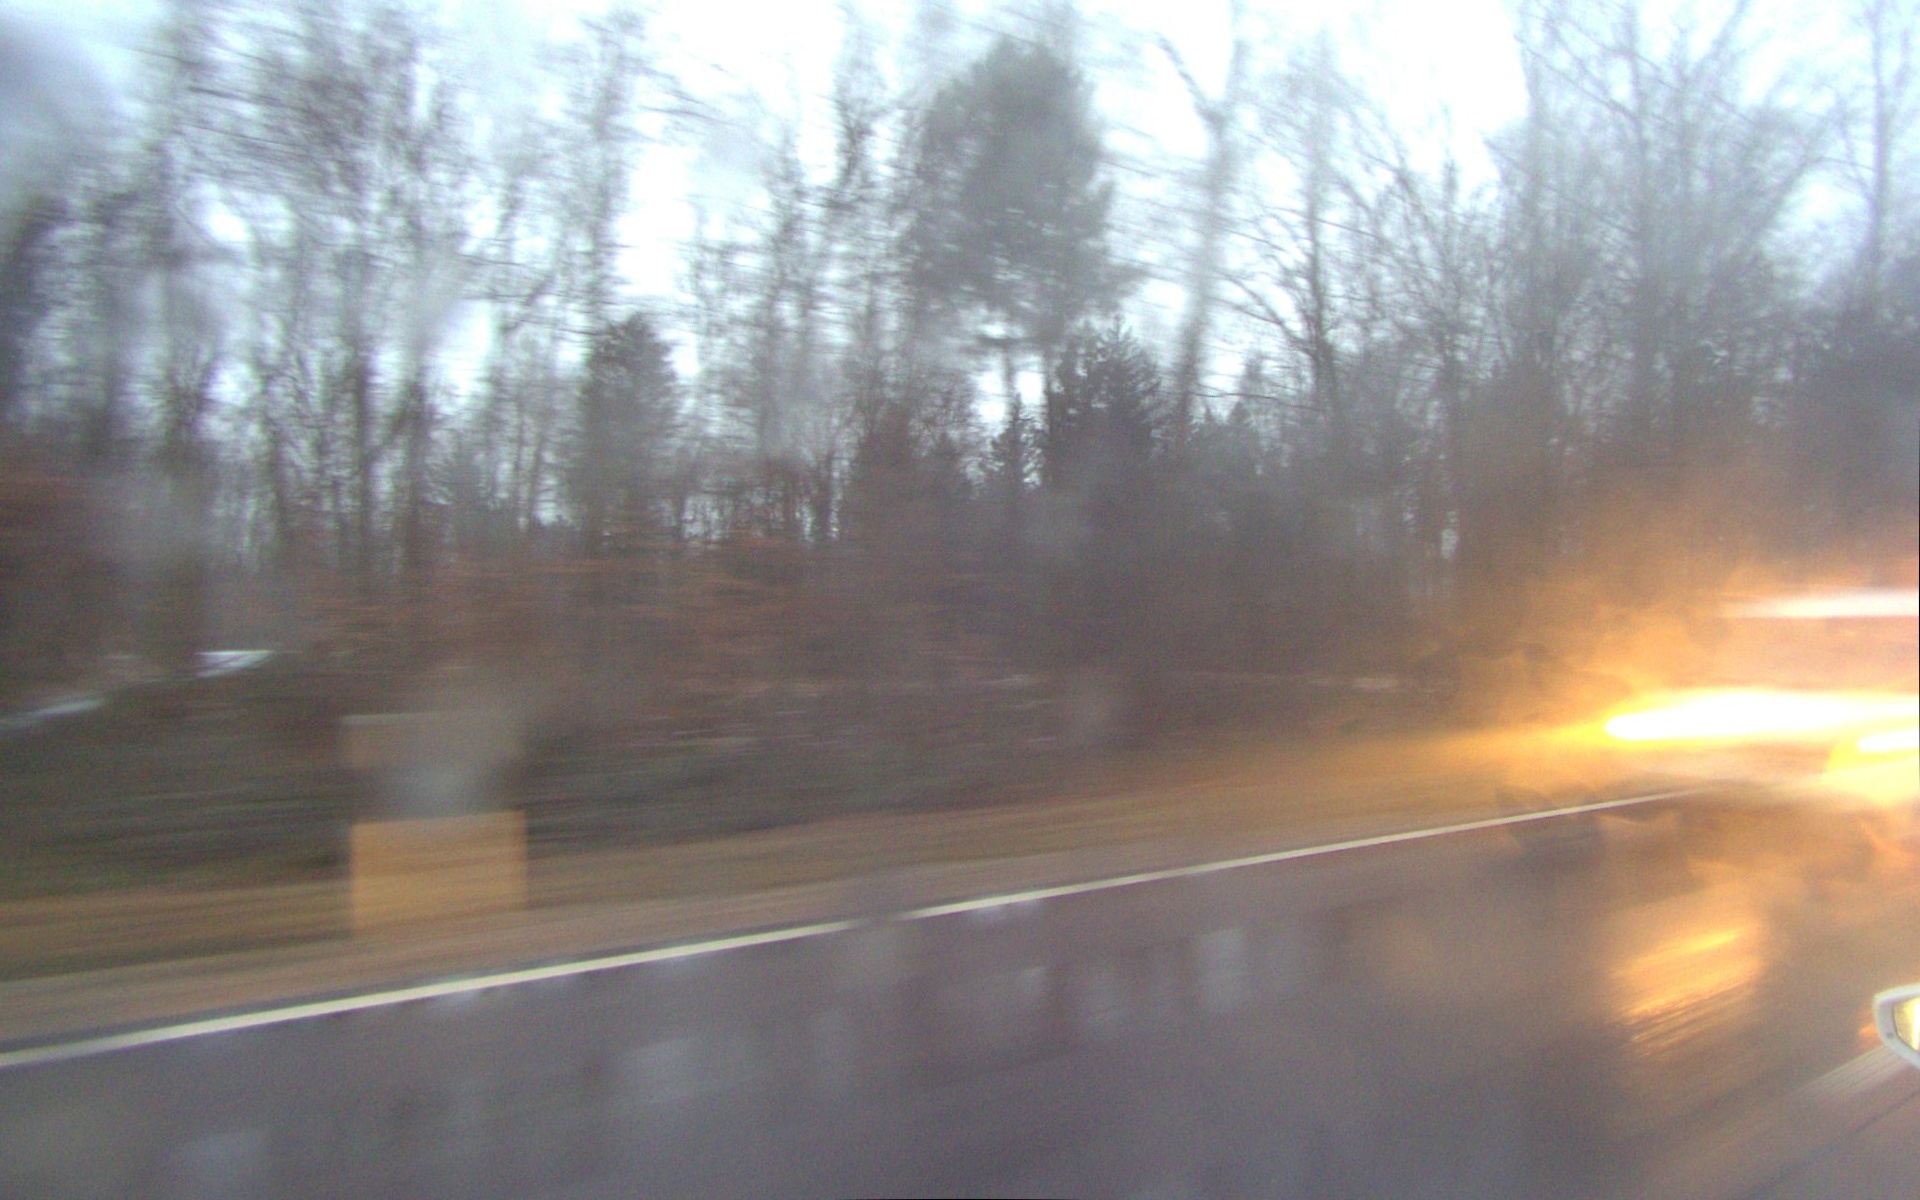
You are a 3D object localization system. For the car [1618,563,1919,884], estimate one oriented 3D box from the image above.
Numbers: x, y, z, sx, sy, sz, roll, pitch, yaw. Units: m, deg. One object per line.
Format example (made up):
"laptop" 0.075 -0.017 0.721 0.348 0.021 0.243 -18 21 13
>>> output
"car" 7.192 0.805 7.748 4.374 1.906 1.788 1 -3 -31
